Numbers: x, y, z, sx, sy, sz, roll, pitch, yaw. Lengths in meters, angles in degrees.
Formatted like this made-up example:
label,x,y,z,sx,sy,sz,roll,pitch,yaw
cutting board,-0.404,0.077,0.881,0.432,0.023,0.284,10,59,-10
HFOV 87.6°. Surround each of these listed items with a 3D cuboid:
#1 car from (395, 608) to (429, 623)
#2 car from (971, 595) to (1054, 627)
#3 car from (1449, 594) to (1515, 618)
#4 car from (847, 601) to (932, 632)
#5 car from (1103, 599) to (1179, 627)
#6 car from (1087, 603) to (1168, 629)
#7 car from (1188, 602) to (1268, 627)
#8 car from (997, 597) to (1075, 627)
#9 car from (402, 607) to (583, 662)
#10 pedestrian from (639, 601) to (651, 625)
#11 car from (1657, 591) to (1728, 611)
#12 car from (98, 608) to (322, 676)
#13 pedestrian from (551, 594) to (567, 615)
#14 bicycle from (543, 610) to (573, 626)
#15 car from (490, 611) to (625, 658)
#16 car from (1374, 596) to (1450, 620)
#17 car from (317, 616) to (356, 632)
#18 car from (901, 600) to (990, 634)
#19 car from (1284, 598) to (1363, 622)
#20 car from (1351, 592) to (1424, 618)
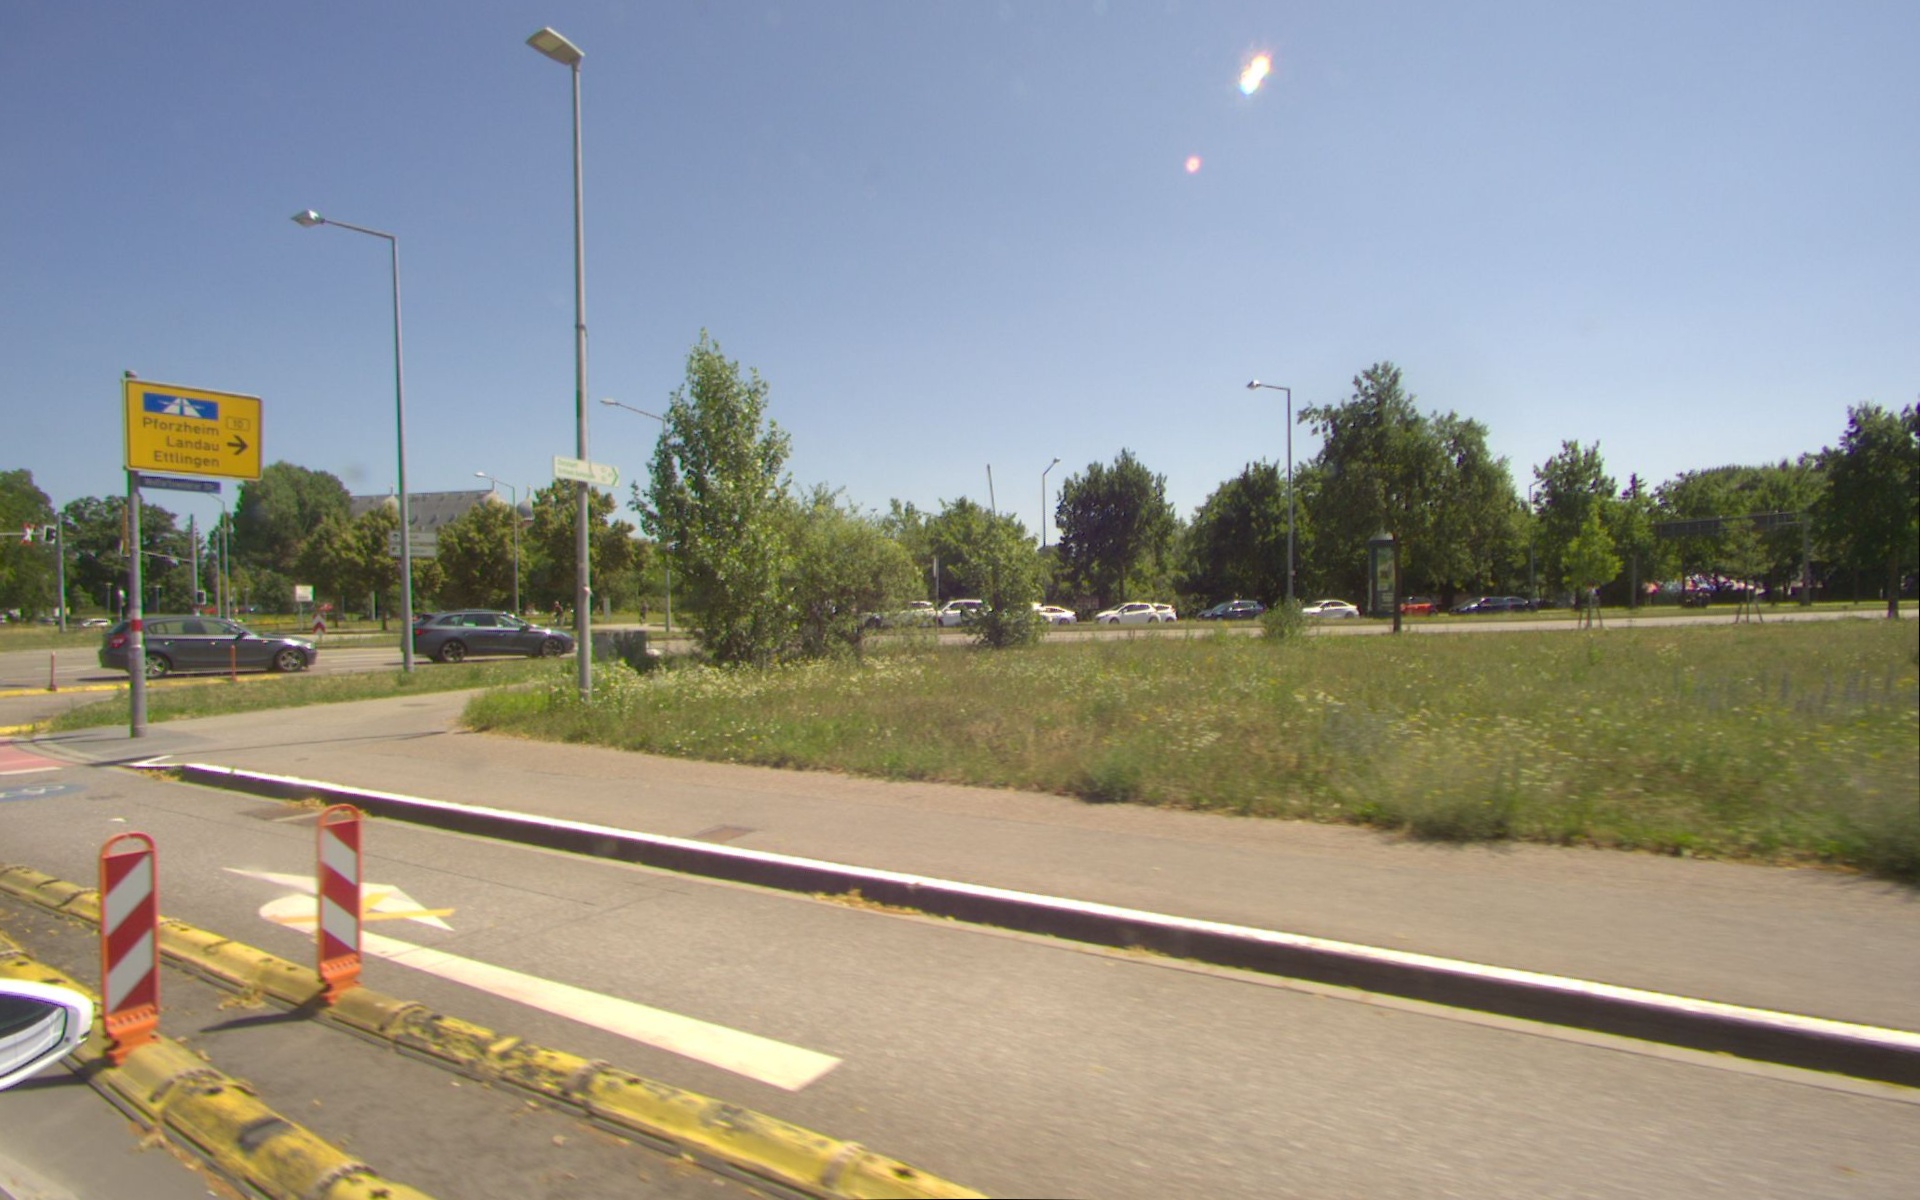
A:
label,x,y,z,sx,sy,sz,roll,pitch,yaw
car,-78.970,2.233,144.309,3.931,2.039,1.996,0,-1,-19
car,2.976,0.613,56.660,4.329,1.705,1.861,0,0,-16
car,34.183,0.399,65.560,3.730,1.494,1.718,0,-1,-17
car,-3.824,0.878,54.225,4.329,1.639,1.861,0,0,-16
car,11.292,0.813,62.545,4.329,1.705,1.861,0,0,-16
car,9.784,0.938,58.617,4.329,1.441,1.861,0,0,-16
car,16.078,0.859,60.126,4.329,1.441,1.861,0,0,-16
car,4.560,0.711,60.055,4.329,1.705,1.861,0,0,-16
car,-13.509,0.943,29.073,4.405,1.437,1.983,-1,0,-40
pedestrian,-23.304,0.955,74.018,0.564,1.753,0.674,-1,-1,15
car,52.617,0.066,71.952,4.329,1.441,1.861,0,0,-16
car,-17.862,0.936,23.986,1.734,1.422,4.045,1,1,42
pedestrian,-28.629,0.341,71.533,0.804,1.469,0.708,-1,-1,22
bicycle,-28.770,1.293,71.627,2.023,1.129,0.728,-1,-1,22
car,-13.656,1.126,34.070,3.950,1.441,1.769,-1,0,-37
car,29.092,0.503,64.480,4.329,1.441,1.861,0,0,-16
car,-80.671,3.080,129.561,3.931,2.039,1.996,0,-1,-19
car,-0.748,0.874,52.413,4.329,1.705,1.861,0,0,-16
car,22.636,0.608,62.365,4.329,1.441,1.861,0,0,-16
car,28.825,0.305,67.592,4.329,1.705,1.861,0,0,-16
